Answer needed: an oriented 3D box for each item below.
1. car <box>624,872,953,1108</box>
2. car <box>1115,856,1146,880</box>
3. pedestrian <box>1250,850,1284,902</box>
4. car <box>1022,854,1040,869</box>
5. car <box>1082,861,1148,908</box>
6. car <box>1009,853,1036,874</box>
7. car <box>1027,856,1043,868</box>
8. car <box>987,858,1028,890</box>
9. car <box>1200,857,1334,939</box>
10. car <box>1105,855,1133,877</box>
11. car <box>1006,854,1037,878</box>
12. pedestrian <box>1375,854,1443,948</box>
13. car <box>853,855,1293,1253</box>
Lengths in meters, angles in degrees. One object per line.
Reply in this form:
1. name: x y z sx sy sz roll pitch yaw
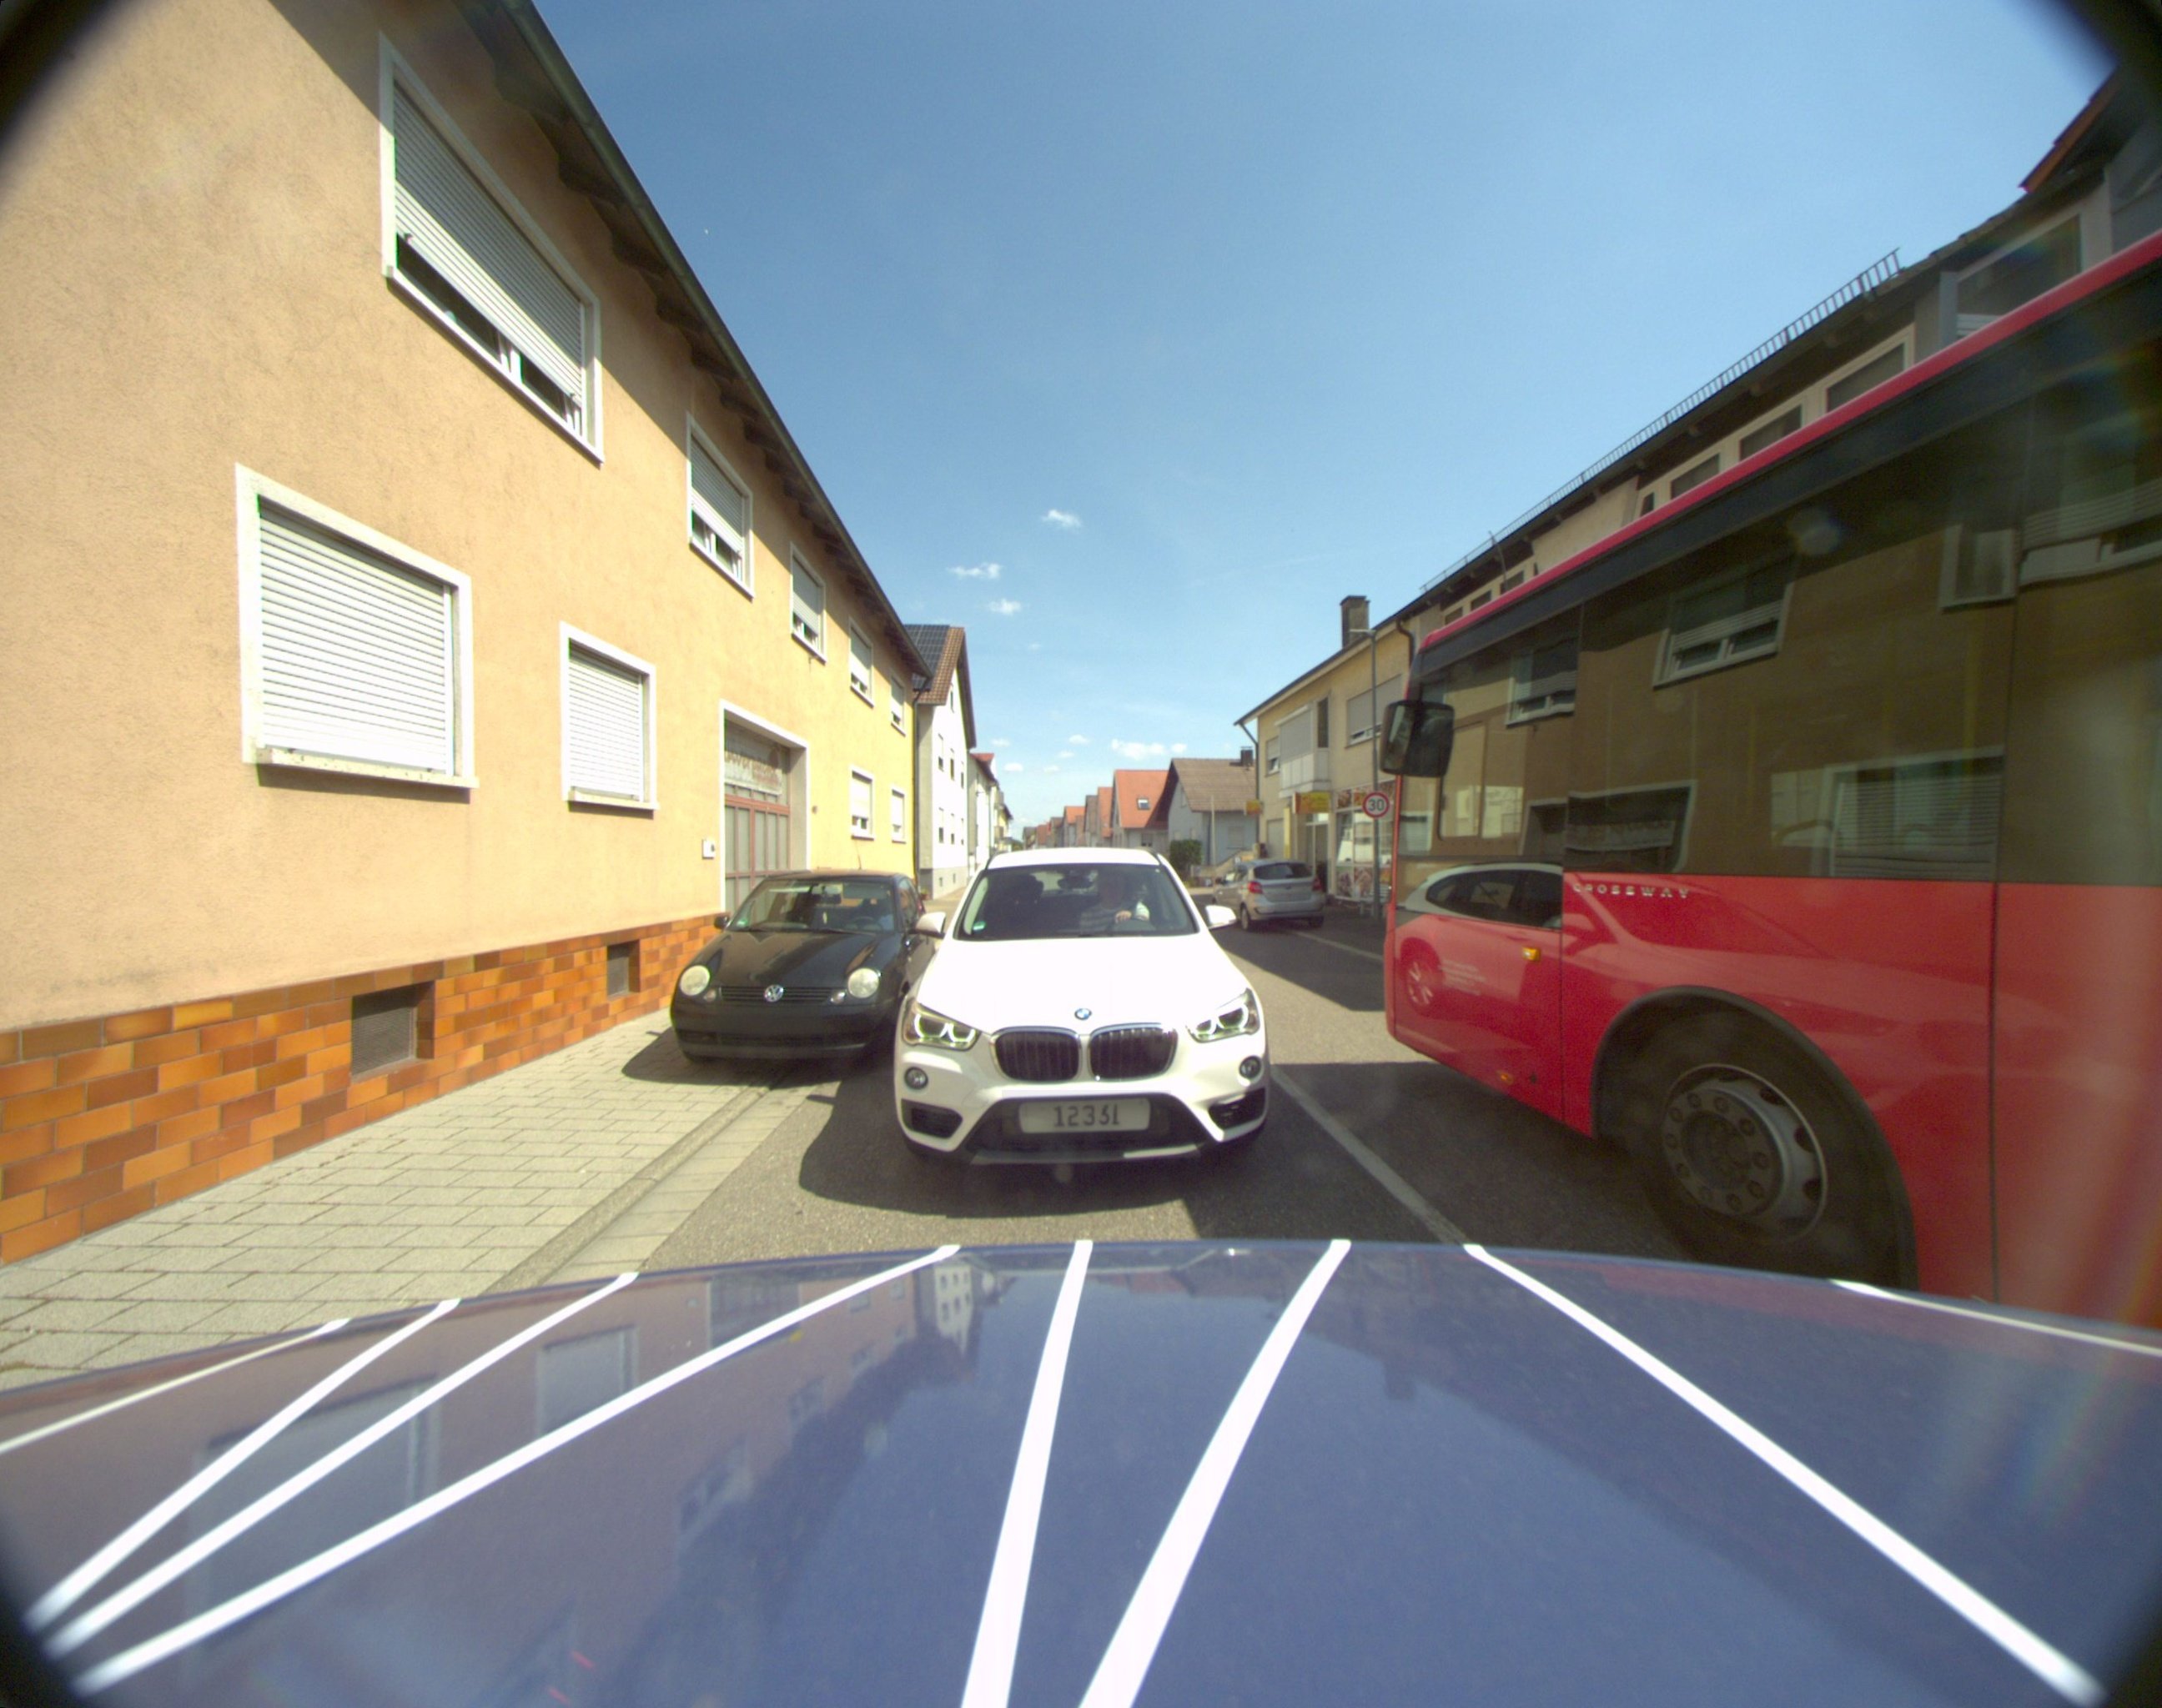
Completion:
1. car: -2.218 0.947 6.814 1.690 1.454 3.628 2 0 -3
2. car: 2.957 0.821 46.052 1.458 1.362 3.383 -3 0 -2
3. pedestrian: 5.789 0.665 23.712 0.757 1.575 0.956 -2 1 -1
4. car: -5.013 0.760 76.186 1.765 1.420 4.188 0 0 -3
5. car: 1.057 0.970 25.282 1.765 1.389 3.868 1 0 -4
6. car: -4.017 0.639 52.766 1.765 1.420 4.188 0 0 -3
7. car: -5.778 1.018 94.811 1.765 1.420 4.187 0 0 -6
8. car: -3.392 0.893 35.664 1.765 1.420 4.188 0 0 -3
9. car: 4.110 0.907 17.488 1.749 1.507 3.998 -4 1 -4
10. car: 2.487 0.770 50.421 1.442 1.362 3.383 -3 0 -3
11. car: -3.584 0.721 46.336 1.765 1.420 4.188 0 0 -3
12. pedestrian: 5.858 0.811 13.607 0.757 1.575 0.956 -2 1 -1
13. car: -0.116 0.868 5.482 1.845 1.636 4.373 -2 0 -3
